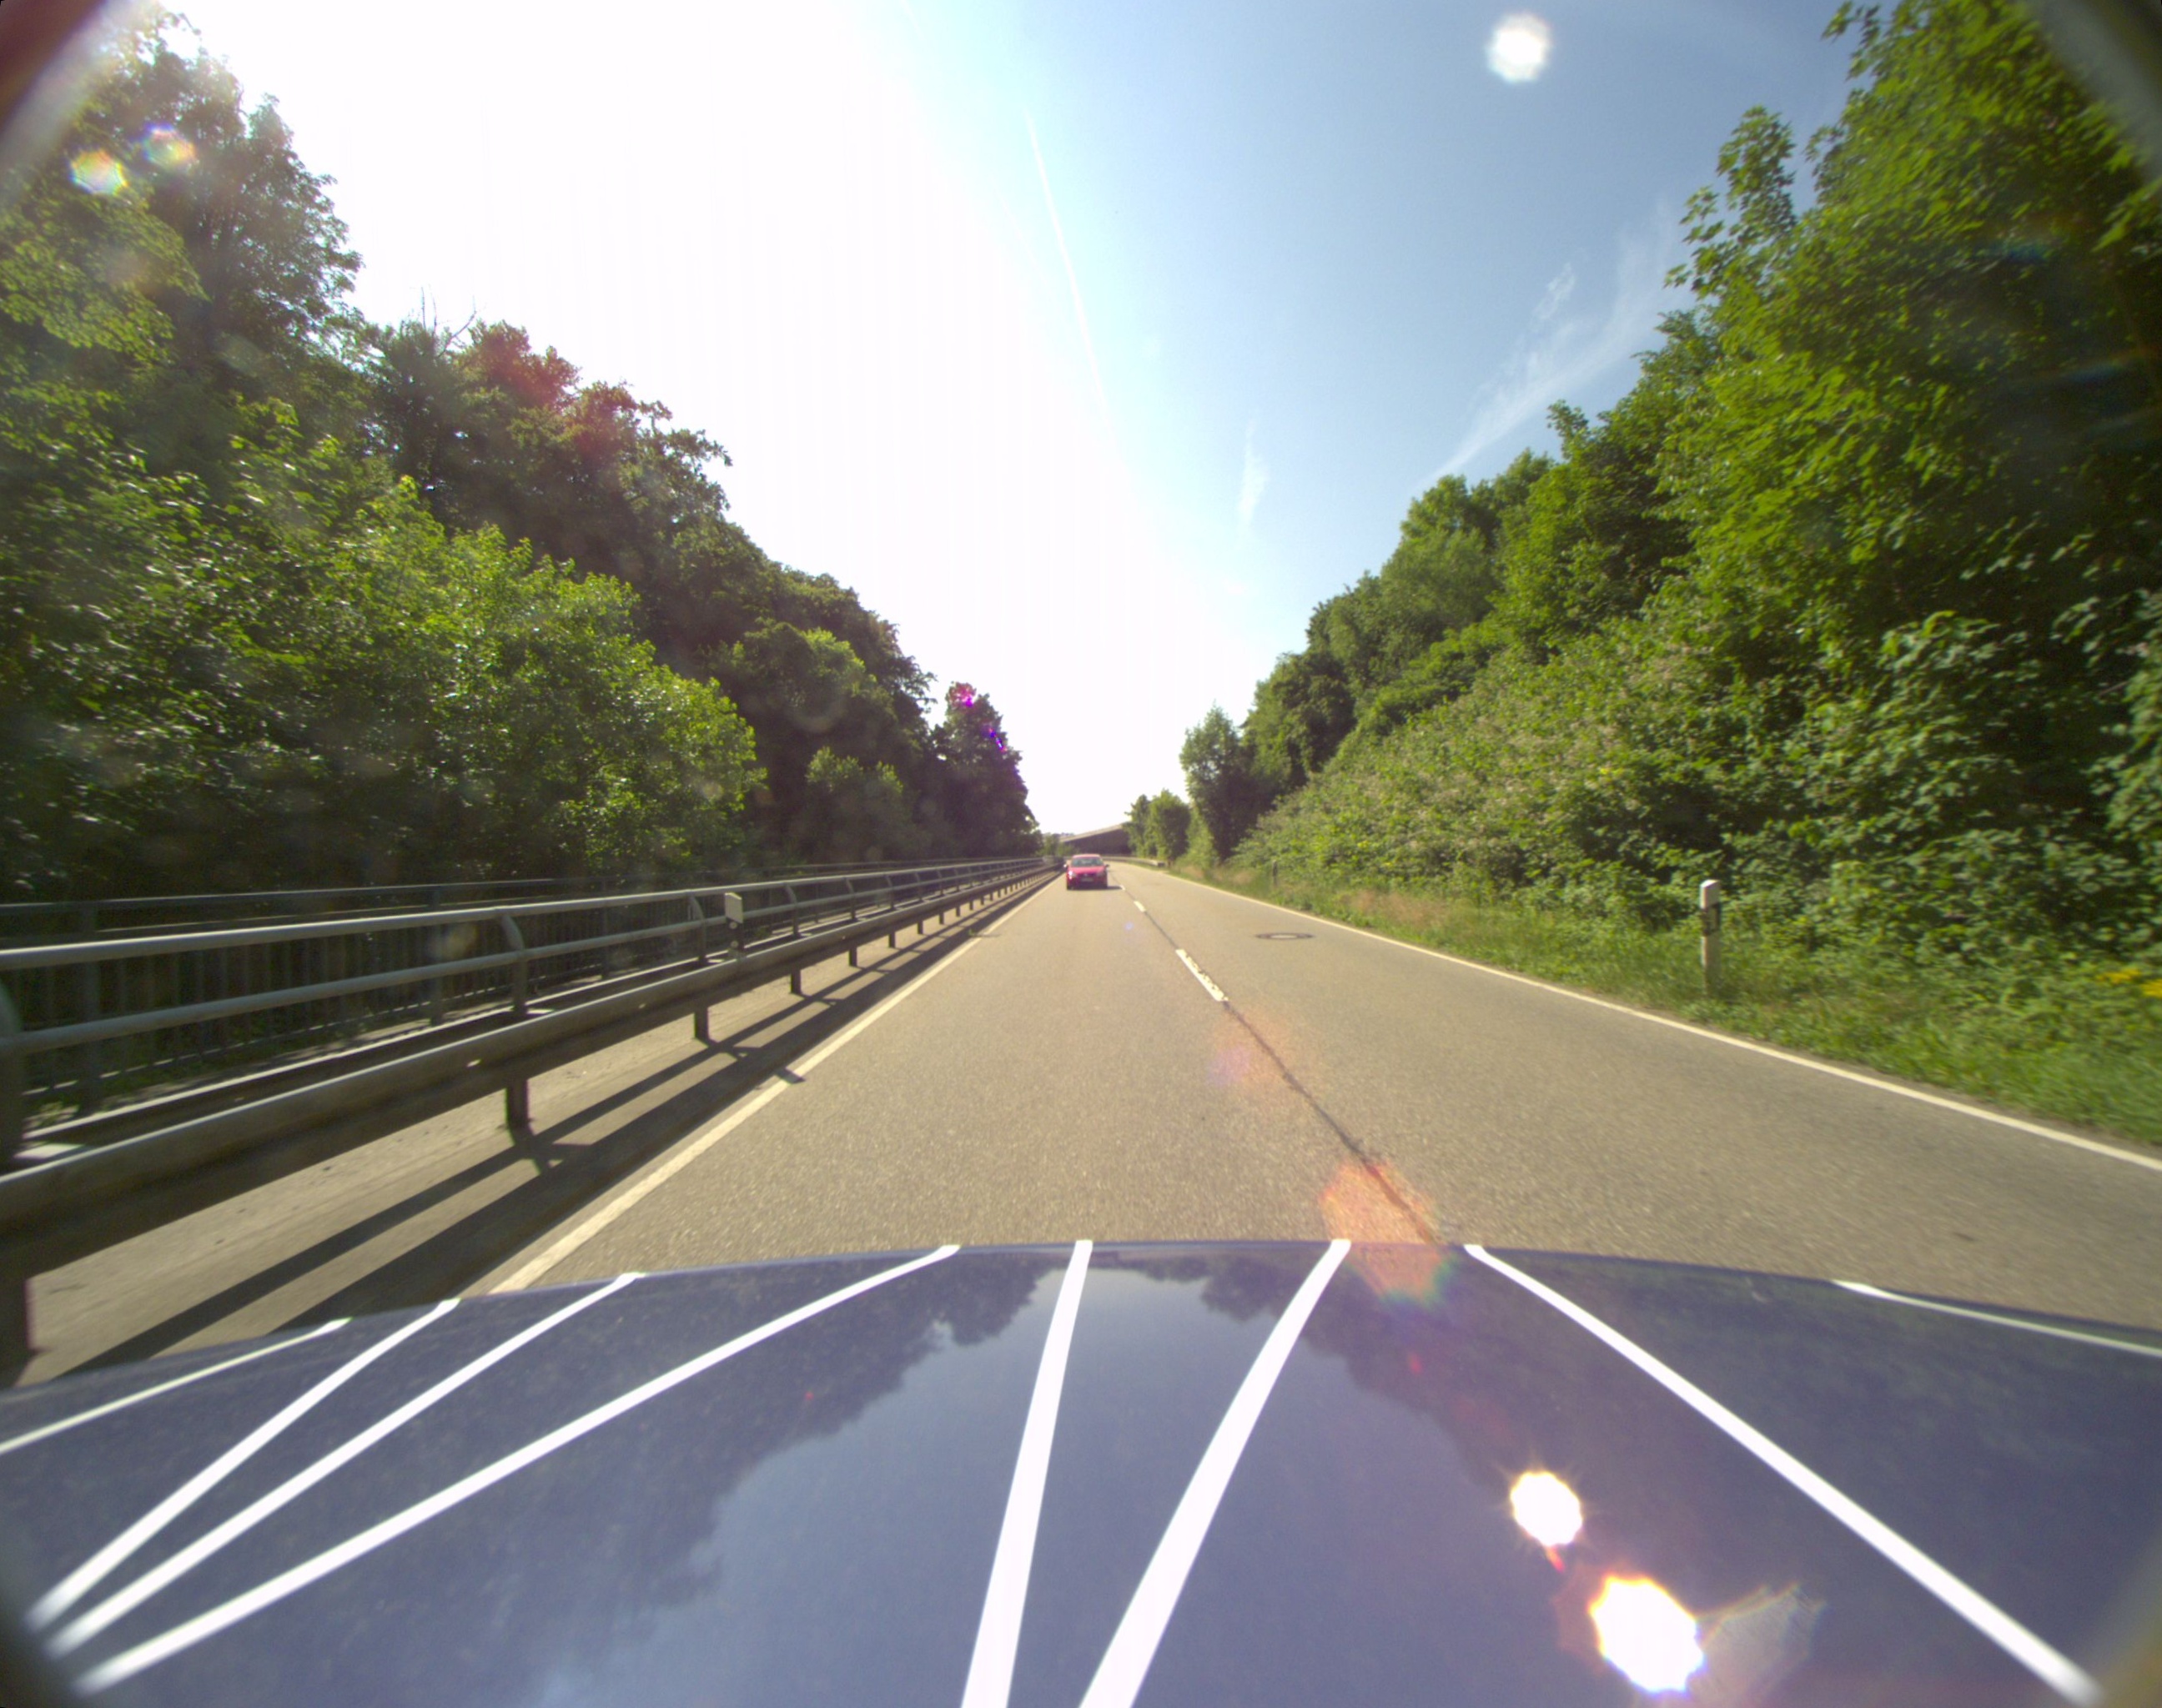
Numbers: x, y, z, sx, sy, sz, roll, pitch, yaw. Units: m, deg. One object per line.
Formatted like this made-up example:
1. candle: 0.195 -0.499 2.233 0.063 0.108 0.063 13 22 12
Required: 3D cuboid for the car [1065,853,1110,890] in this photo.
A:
1. car: 0.368 0.738 33.902 1.816 1.488 4.286 -1 0 3
